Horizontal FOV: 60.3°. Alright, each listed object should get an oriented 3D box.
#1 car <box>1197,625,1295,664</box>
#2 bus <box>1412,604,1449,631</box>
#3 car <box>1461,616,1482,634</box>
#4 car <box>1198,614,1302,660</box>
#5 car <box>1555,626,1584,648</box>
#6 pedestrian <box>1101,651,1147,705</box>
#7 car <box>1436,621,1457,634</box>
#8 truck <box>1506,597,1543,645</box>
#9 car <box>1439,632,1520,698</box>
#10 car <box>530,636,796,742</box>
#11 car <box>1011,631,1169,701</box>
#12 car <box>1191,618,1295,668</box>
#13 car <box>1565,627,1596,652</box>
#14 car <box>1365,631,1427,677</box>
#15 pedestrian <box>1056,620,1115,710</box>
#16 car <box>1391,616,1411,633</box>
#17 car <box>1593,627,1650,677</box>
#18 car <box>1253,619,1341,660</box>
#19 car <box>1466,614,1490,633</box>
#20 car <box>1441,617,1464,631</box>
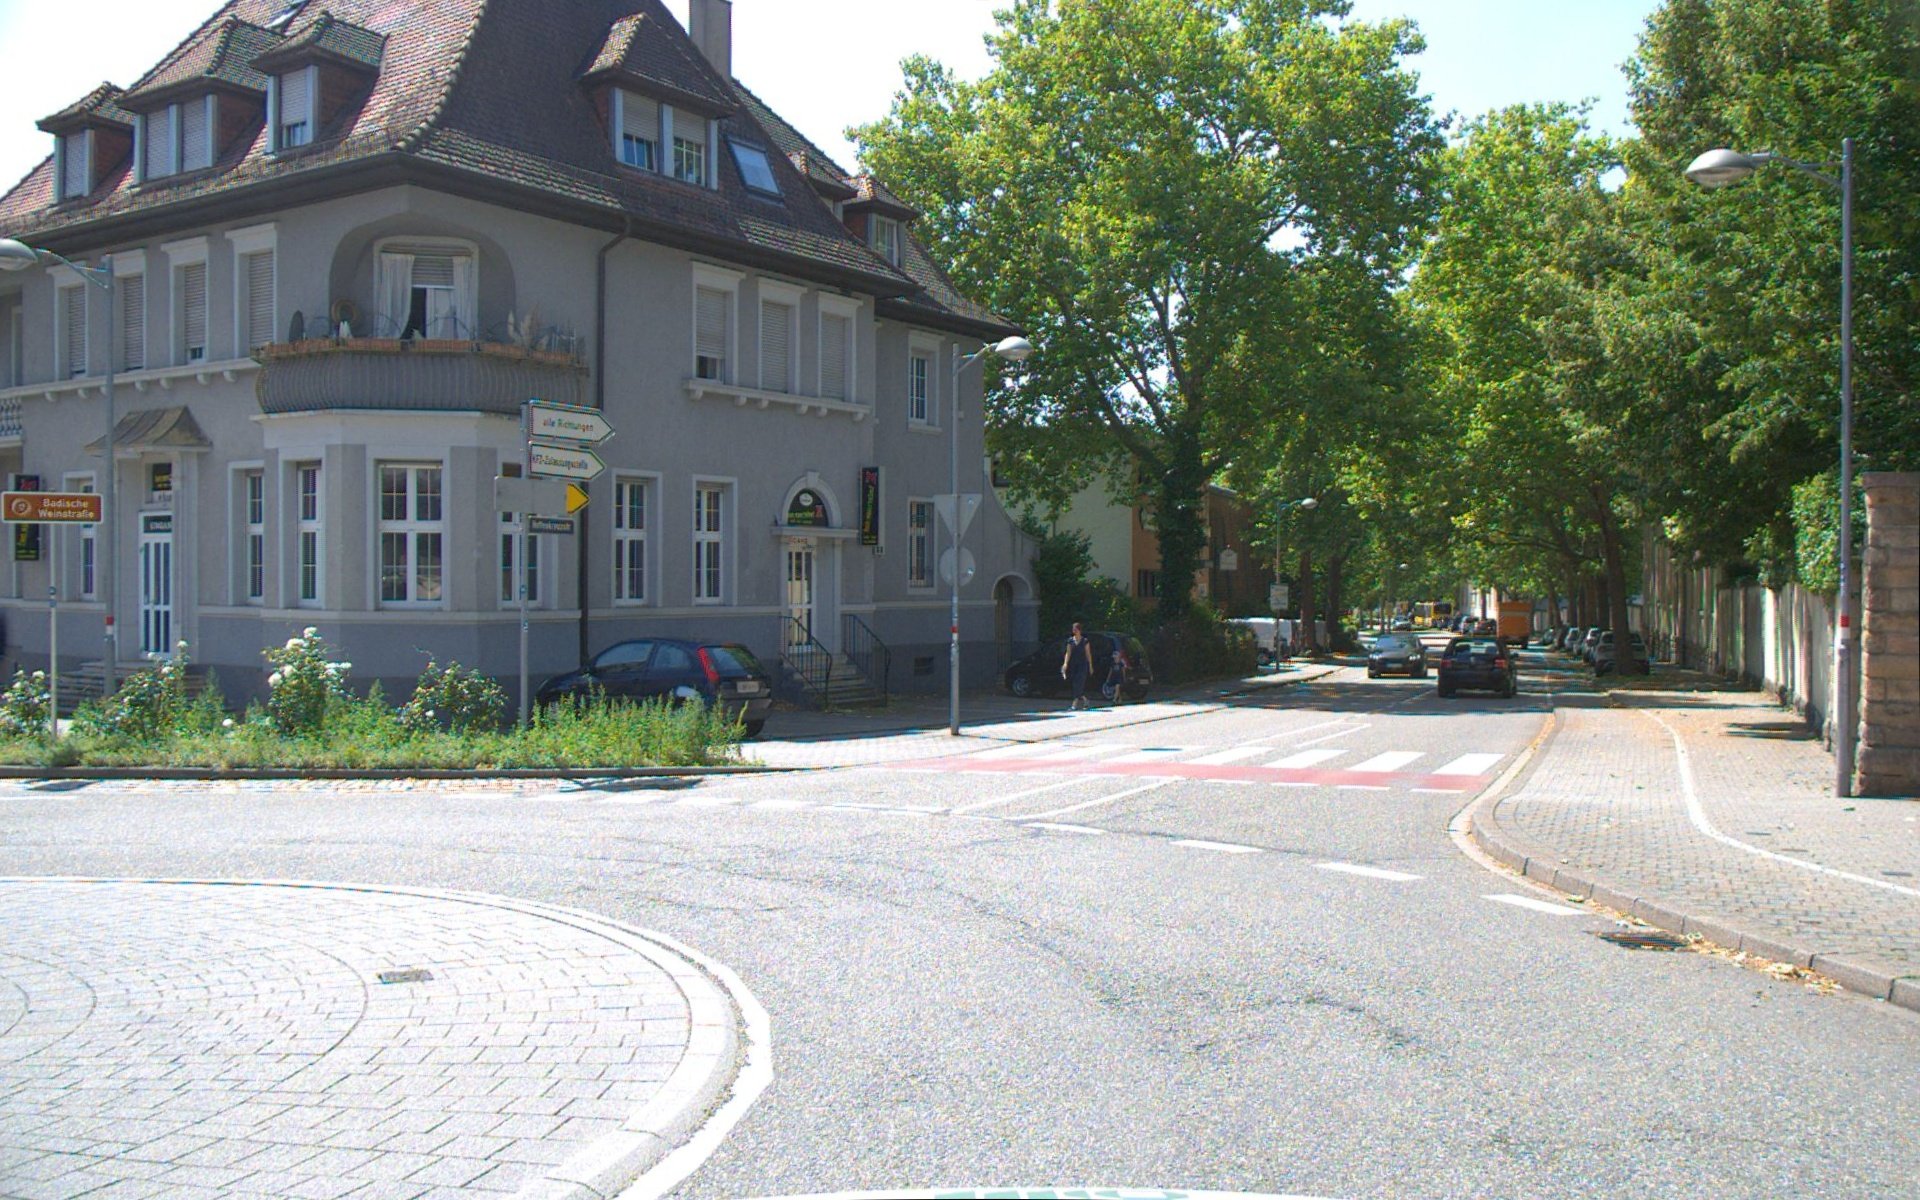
[{"bbox_3d":[12.283,1.894,71.022,3.903,1.542,1.869,2,-1,17],"label":"car"},{"bbox_3d":[58.119,2.262,204.479,2.607,3.206,11.205,0,-1,7],"label":"bus"},{"bbox_3d":[52.338,2.541,169.263,1.839,1.715,4.002,0,-2,15],"label":"car"},{"bbox_3d":[12.921,1.631,73.664,4.330,1.836,1.904,2,-1,17],"label":"car"},{"bbox_3d":[42.571,2.566,115.610,1.729,1.491,3.877,-1,-1,18],"label":"car"},{"bbox_3d":[3.620,1.708,36.443,0.739,1.141,0.896,-1,-2,26],"label":"pedestrian"},{"bbox_3d":[55.475,3.162,188.743,1.729,1.398,3.732,-1,-1,7],"label":"car"},{"bbox_3d":[38.985,1.483,114.403,2.320,3.189,5.771,0,-2,18],"label":"truck"},{"bbox_3d":[12.669,1.548,40.229,1.675,1.473,4.058,0,-1,20],"label":"car"},{"bbox_3d":[-4.471,1.282,24.823,3.710,1.486,1.721,-1,-1,30],"label":"car"},{"bbox_3d":[3.044,1.521,38.834,3.318,1.574,1.721,-1,-1,30],"label":"car"},{"bbox_3d":[11.397,1.704,66.555,3.903,1.824,1.869,2,-1,17],"label":"car"},{"bbox_3d":[38.805,2.438,103.482,1.544,1.491,3.877,-1,-1,18],"label":"car"},{"bbox_3d":[14.611,1.782,55.277,1.731,1.451,4.394,-1,-1,18],"label":"car"},{"bbox_3d":[2.534,1.288,33.300,0.854,1.773,1.111,-1,-2,26],"label":"pedestrian"},{"bbox_3d":[48.679,2.717,182.524,1.951,1.695,4.003,0,-2,13],"label":"car"},{"bbox_3d":[23.044,1.774,57.723,1.705,1.584,4.780,-2,-1,21],"label":"car"},{"bbox_3d":[16.521,1.936,80.991,4.041,1.836,1.904,2,-1,17],"label":"car"},{"bbox_3d":[50.769,2.336,162.092,1.839,1.715,4.003,0,-2,12],"label":"car"},{"bbox_3d":[53.923,2.633,181.095,1.729,1.398,3.732,-1,-1,7],"label":"car"}]
